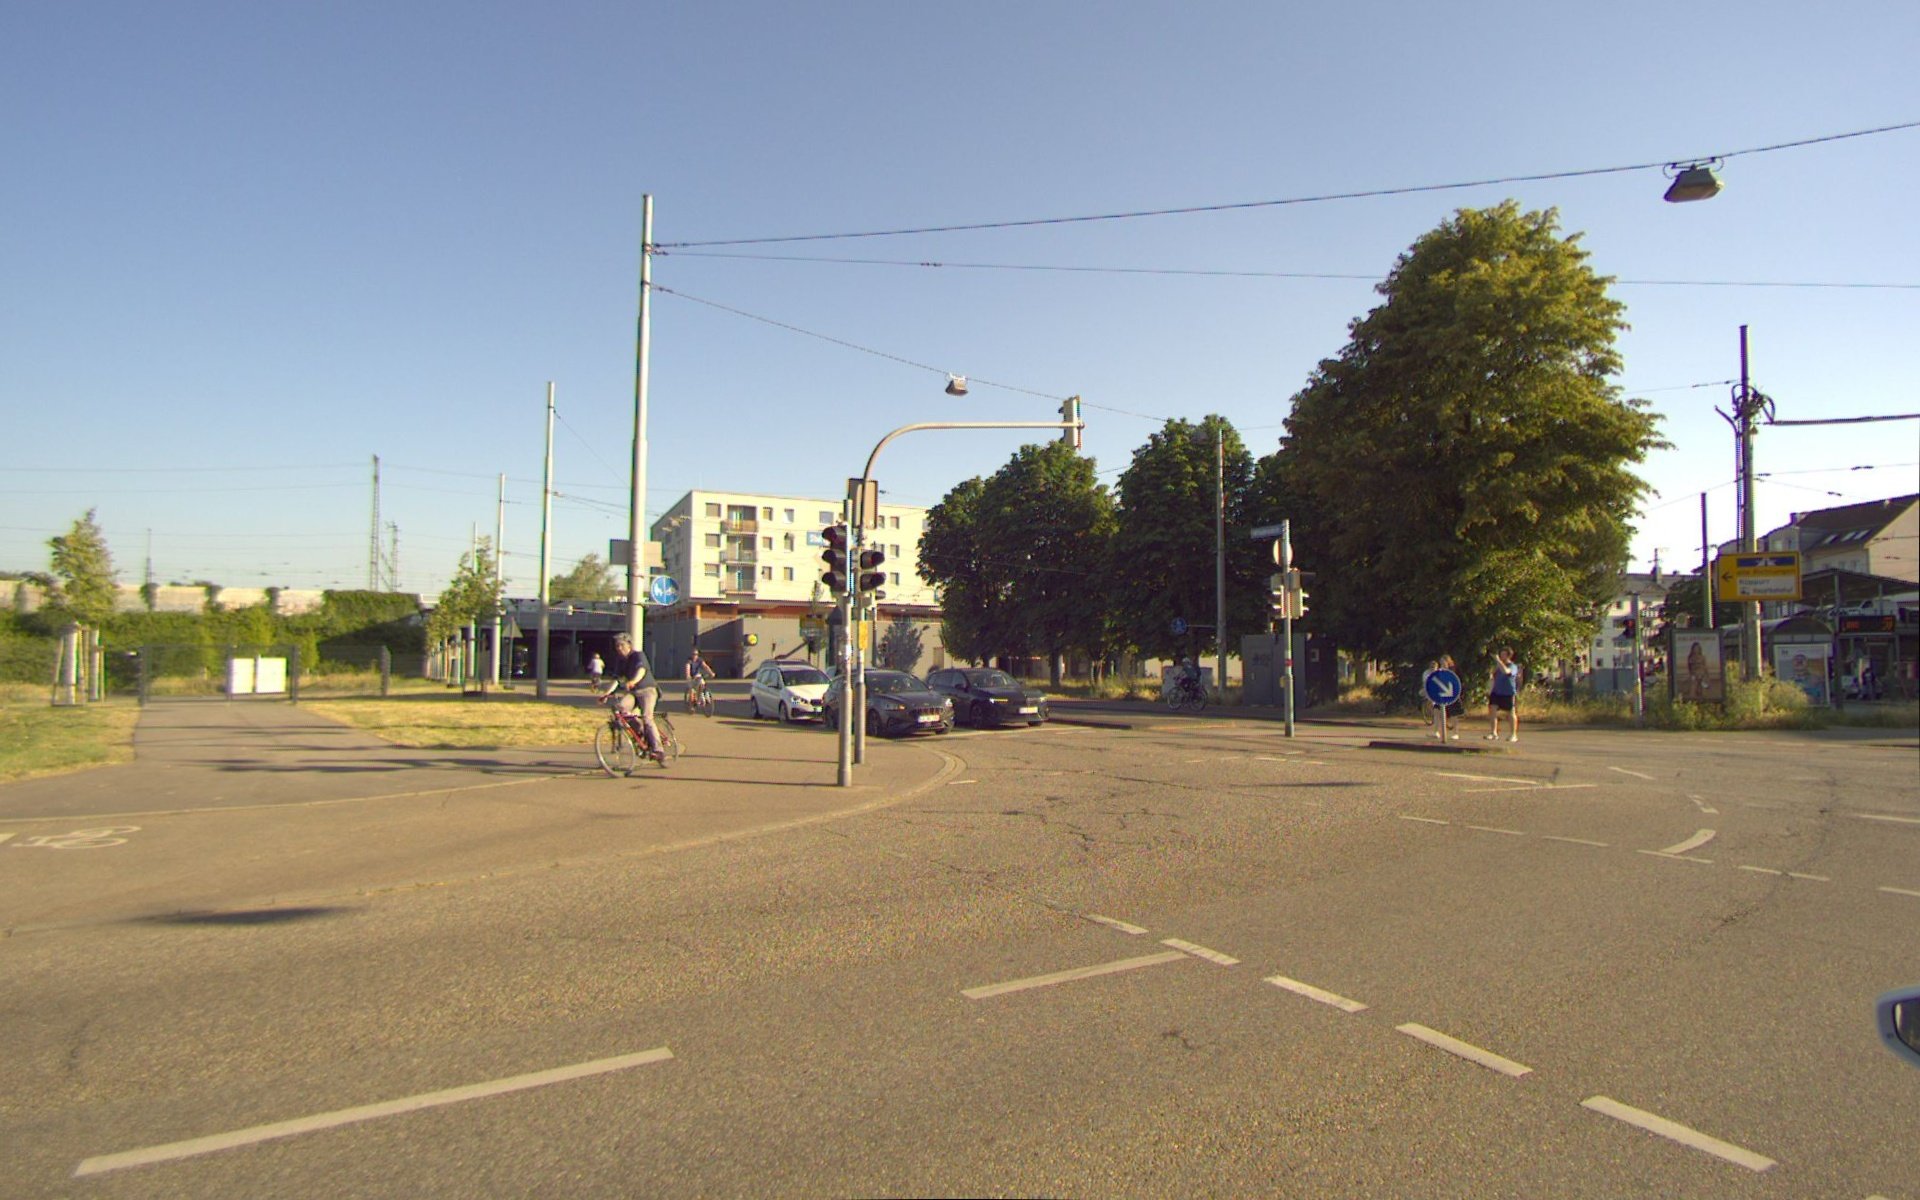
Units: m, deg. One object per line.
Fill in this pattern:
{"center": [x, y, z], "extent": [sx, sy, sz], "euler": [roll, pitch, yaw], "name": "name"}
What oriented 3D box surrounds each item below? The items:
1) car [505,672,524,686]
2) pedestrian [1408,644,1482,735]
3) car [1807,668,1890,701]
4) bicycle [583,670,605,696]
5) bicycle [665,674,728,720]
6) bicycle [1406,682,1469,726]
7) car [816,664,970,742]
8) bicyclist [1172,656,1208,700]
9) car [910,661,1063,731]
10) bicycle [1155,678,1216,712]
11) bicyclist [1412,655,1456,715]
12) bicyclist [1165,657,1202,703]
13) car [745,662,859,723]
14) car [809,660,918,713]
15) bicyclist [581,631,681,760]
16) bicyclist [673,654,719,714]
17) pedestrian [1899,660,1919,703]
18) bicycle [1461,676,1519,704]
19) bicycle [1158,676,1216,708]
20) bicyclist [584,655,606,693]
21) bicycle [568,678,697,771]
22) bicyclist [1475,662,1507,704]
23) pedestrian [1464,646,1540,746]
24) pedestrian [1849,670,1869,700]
{"center": [-57.163, 10.156, 128.800], "extent": [1.975, 1.726, 3.972], "euler": [2, -4, -28], "name": "car"}
{"center": [9.795, 1.784, 20.290], "extent": [1.056, 1.769, 0.907], "euler": [2, -4, -33], "name": "pedestrian"}
{"center": [56.896, 5.406, 64.459], "extent": [2.016, 1.987, 5.153], "euler": [-3, -5, 19], "name": "car"}
{"center": [-15.877, 3.596, 43.606], "extent": [0.655, 1.083, 2.006], "euler": [2, -4, -26], "name": "bicycle"}
{"center": [-7.127, 2.585, 27.119], "extent": [0.786, 1.164, 2.268], "euler": [3, -5, -38], "name": "bicycle"}
{"center": [13.422, 2.901, 28.320], "extent": [0.687, 1.157, 2.202], "euler": [0, -4, -1], "name": "bicycle"}
{"center": [-1.646, 2.270, 23.013], "extent": [1.975, 1.587, 4.246], "euler": [1, -4, -28], "name": "car"}
{"center": [8.142, 2.754, 35.557], "extent": [0.656, 1.551, 1.024], "euler": [3, -5, -43], "name": "bicyclist"}
{"center": [0.562, 2.325, 25.203], "extent": [2.027, 1.587, 4.422], "euler": [2, -4, -26], "name": "car"}
{"center": [7.690, 3.227, 34.334], "extent": [0.659, 1.083, 1.994], "euler": [3, -5, -43], "name": "bicycle"}
{"center": [13.355, 2.383, 28.344], "extent": [0.699, 1.650, 1.042], "euler": [0, -3, -2], "name": "bicyclist"}
{"center": [7.655, 2.722, 34.402], "extent": [0.693, 1.551, 1.024], "euler": [3, -5, -43], "name": "bicyclist"}
{"center": [-4.595, 2.581, 28.749], "extent": [1.975, 1.587, 4.246], "euler": [2, -4, -28], "name": "car"}
{"center": [-3.194, 2.749, 32.425], "extent": [1.975, 1.587, 4.426], "euler": [2, -4, -28], "name": "car"}
{"center": [-4.368, 1.251, 13.392], "extent": [0.860, 1.646, 0.973], "euler": [0, -3, 12], "name": "bicyclist"}
{"center": [-7.147, 2.267, 27.205], "extent": [0.845, 1.567, 1.011], "euler": [3, -5, -39], "name": "bicyclist"}
{"center": [45.928, 3.914, 48.239], "extent": [0.906, 2.039, 0.768], "euler": [-1, -4, 24], "name": "pedestrian"}
{"center": [21.321, 3.615, 40.428], "extent": [1.981, 1.083, 0.663], "euler": [1, -3, -5], "name": "bicycle"}
{"center": [8.053, 3.237, 35.644], "extent": [0.659, 1.083, 1.994], "euler": [3, -5, -43], "name": "bicycle"}
{"center": [-15.842, 3.221, 43.597], "extent": [0.767, 1.626, 0.852], "euler": [2, -4, -27], "name": "bicyclist"}
{"center": [-4.295, 1.604, 13.357], "extent": [0.739, 1.107, 1.951], "euler": [0, -4, 12], "name": "bicycle"}
{"center": [21.380, 3.323, 40.469], "extent": [0.870, 1.673, 0.670], "euler": [1, -3, -5], "name": "bicyclist"}
{"center": [10.871, 1.906, 20.148], "extent": [1.056, 1.950, 0.907], "euler": [3, -4, -33], "name": "pedestrian"}
{"center": [45.497, 4.307, 50.842], "extent": [0.558, 1.520, 0.677], "euler": [-2, -4, 32], "name": "pedestrian"}
